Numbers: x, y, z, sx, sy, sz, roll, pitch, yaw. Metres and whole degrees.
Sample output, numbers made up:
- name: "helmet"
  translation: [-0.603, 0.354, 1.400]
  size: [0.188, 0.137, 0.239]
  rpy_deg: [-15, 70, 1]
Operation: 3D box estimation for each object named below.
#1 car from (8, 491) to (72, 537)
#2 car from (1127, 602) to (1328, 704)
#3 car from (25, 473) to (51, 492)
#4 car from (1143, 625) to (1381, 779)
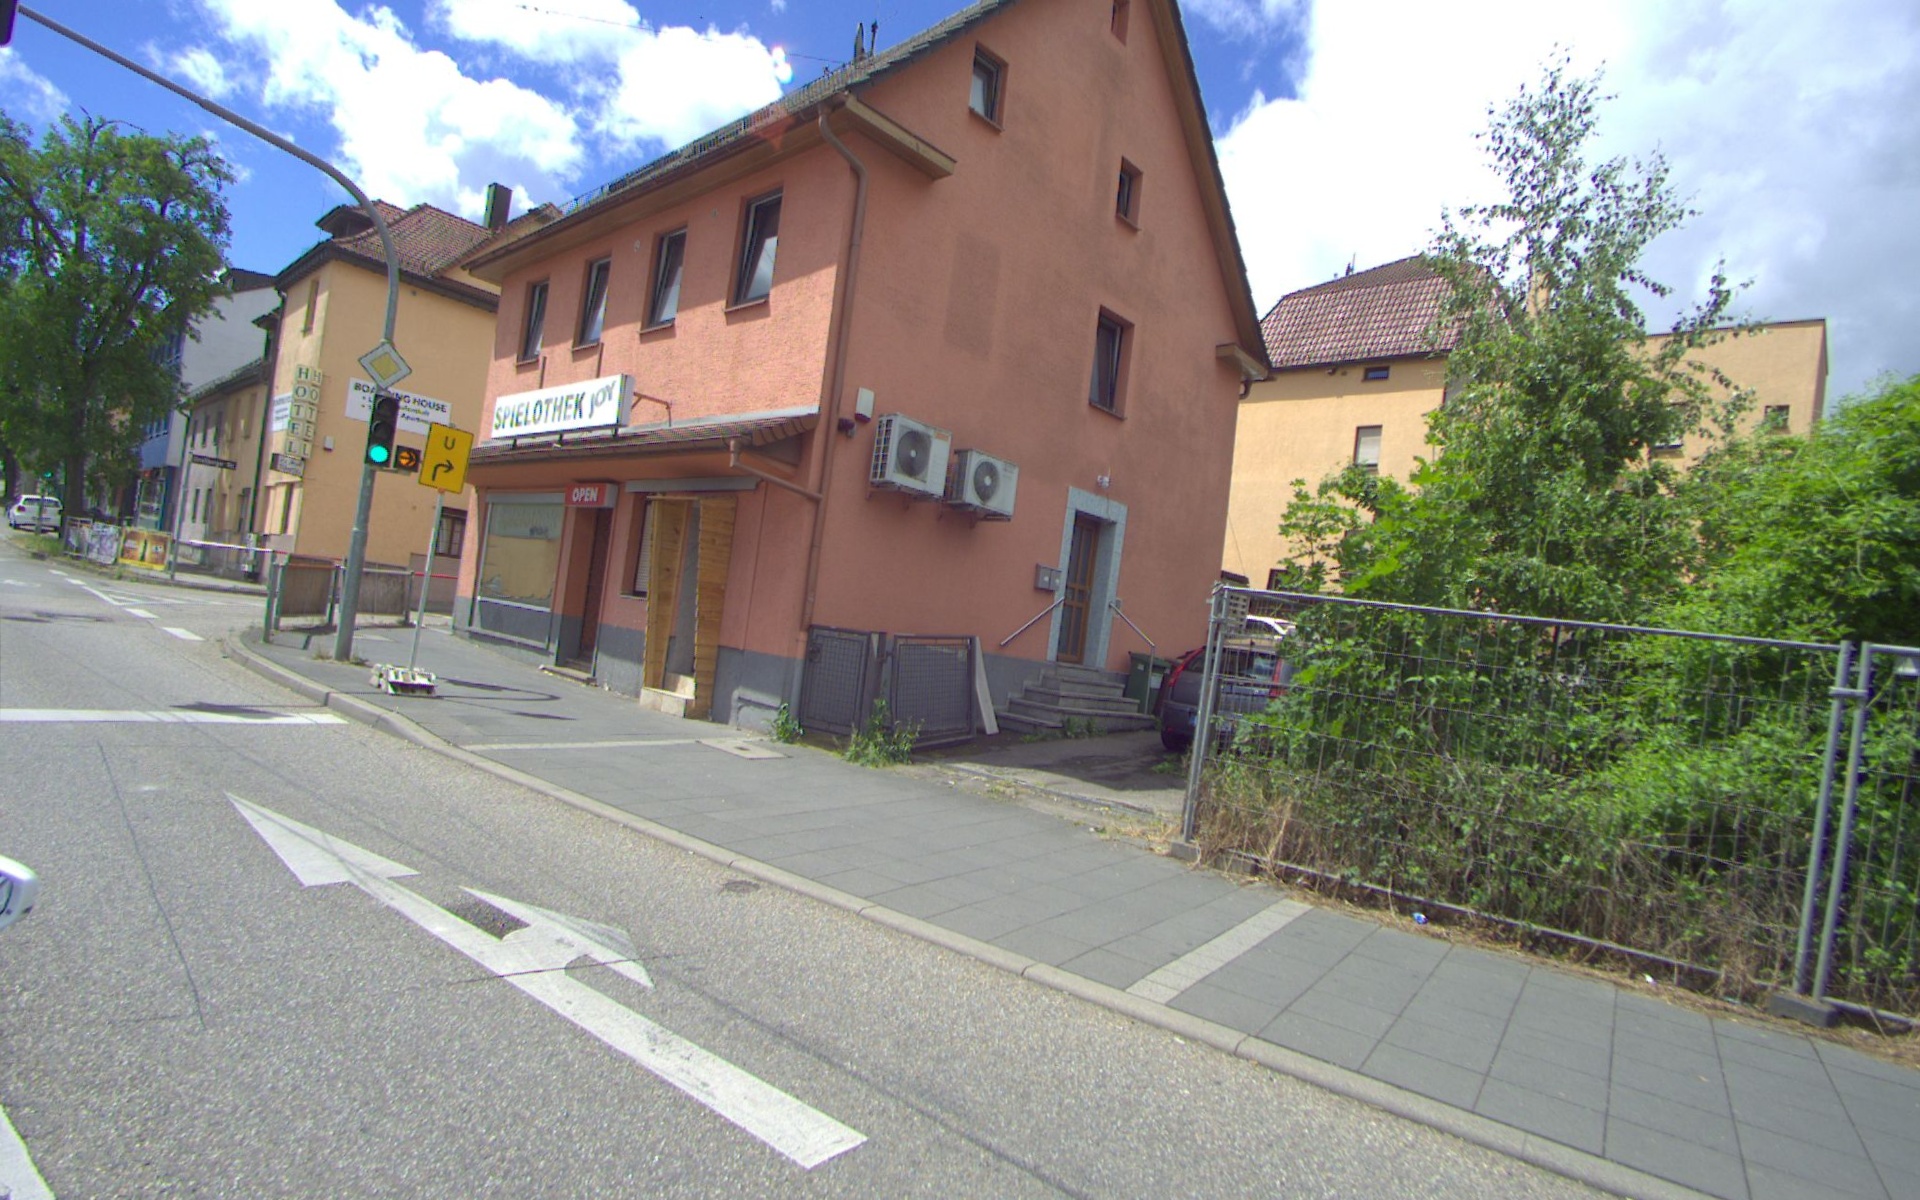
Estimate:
- name: "car"
  translation: [-39.444, -3.679, 43.090]
  size: [1.782, 1.615, 3.950]
  rpy_deg: [7, -1, -45]
- name: "car"
  translation: [6.216, 1.212, 23.642]
  size: [3.947, 1.804, 1.990]
  rpy_deg: [7, -1, 44]
- name: "car"
  translation: [-109.975, -14.000, 120.006]
  size: [1.985, 1.682, 3.957]
  rpy_deg: [7, -1, -39]
- name: "car"
  translation: [3.797, 1.191, 12.476]
  size: [1.627, 1.516, 2.796]
  rpy_deg: [7, 2, 43]
